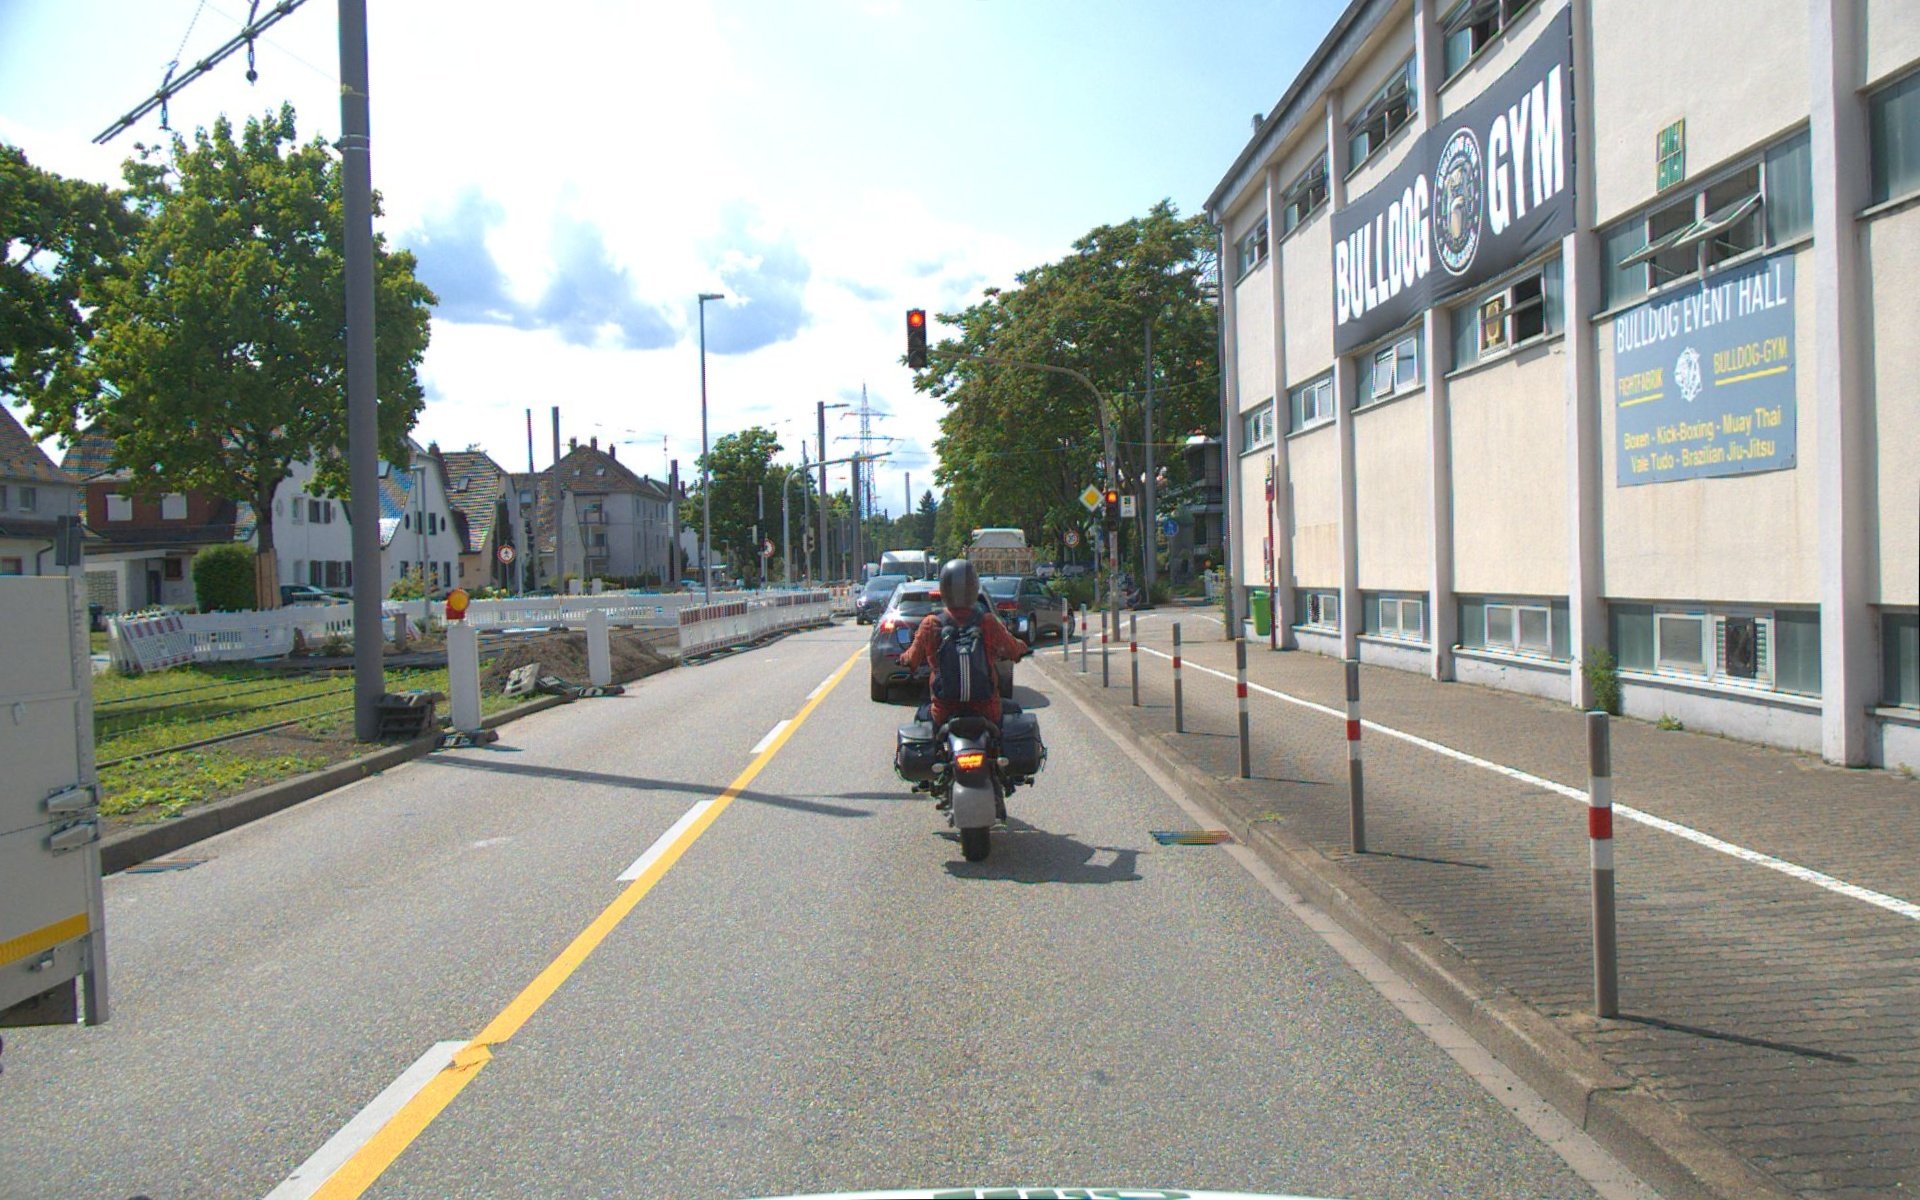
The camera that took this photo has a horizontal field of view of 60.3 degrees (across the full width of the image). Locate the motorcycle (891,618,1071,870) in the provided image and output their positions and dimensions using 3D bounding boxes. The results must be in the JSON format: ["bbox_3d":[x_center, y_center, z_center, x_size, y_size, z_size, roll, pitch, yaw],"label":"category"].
[{"bbox_3d":[0.094,0.753,9.727,0.923,1.221,2.472,0,1,-1],"label":"motorcycle"}]

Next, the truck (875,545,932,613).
[{"bbox_3d":[-2.285,-0.921,68.303,2.050,2.519,5.197,-3,2,0],"label":"truck"}]

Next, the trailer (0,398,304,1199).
[{"bbox_3d":[-2.933,0.589,2.051,2.021,1.867,5.484,-4,0,-1],"label":"trailer"}]

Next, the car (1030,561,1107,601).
[{"bbox_3d":[5.493,-0.952,83.358,1.773,1.959,3.972,0,0,44],"label":"car"}]

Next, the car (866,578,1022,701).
[{"bbox_3d":[-0.304,0.442,21.445,1.697,1.428,4.082,0,1,-5],"label":"car"}]

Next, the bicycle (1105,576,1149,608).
[{"bbox_3d":[6.386,-0.309,63.219,1.672,1.192,0.438,0,0,4],"label":"bicycle"}]

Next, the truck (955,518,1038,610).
[{"bbox_3d":[1.420,-1.286,62.060,2.906,3.228,7.766,0,0,2],"label":"truck"}]

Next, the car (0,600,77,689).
[{"bbox_3d":[-16.528,0.767,27.730,1.511,1.400,4.246,-2,1,-6],"label":"car"}]

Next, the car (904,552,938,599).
[{"bbox_3d":[-1.854,-1.169,79.810,1.556,2.180,3.627,0,0,0],"label":"car"}]

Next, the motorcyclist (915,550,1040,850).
[{"bbox_3d":[0.091,0.542,9.370,0.684,1.632,0.692,0,0,-1],"label":"motorcyclist"}]

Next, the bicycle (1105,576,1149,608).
[{"bbox_3d":[6.428,-0.310,63.703,1.672,1.192,0.438,0,0,4],"label":"bicycle"}]

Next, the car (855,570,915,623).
[{"bbox_3d":[-2.297,-0.150,51.781,1.611,1.524,4.269,-1,1,0],"label":"car"}]

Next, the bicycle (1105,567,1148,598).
[{"bbox_3d":[6.467,-0.669,64.297,1.672,1.192,0.438,0,0,4],"label":"bicycle"}]

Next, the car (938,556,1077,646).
[{"bbox_3d":[1.142,-0.039,36.857,1.861,1.742,4.723,-1,2,17],"label":"car"}]
